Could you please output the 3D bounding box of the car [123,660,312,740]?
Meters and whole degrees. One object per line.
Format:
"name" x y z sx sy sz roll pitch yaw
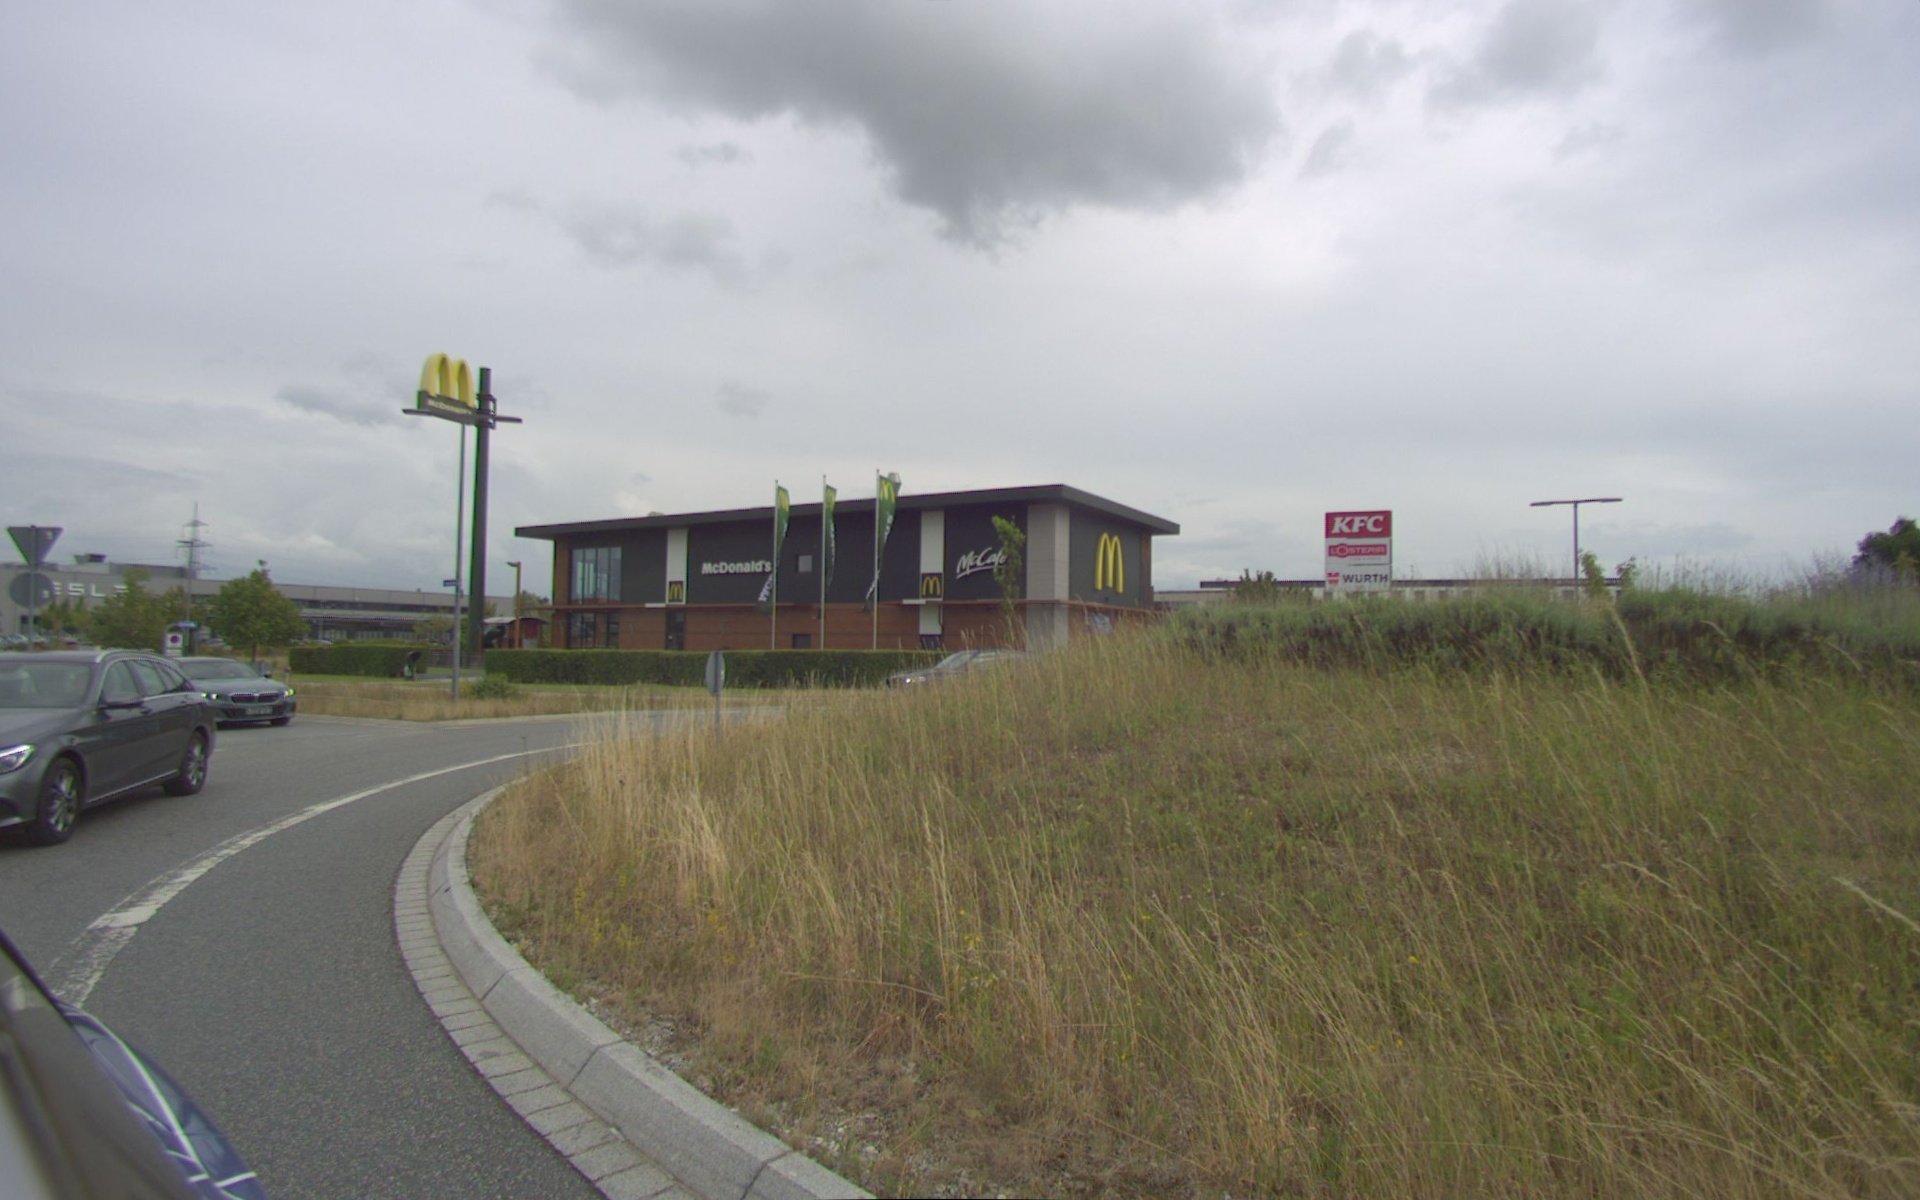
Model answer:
"car" -16.252 2.097 22.104 4.295 1.516 1.976 -2 -3 34

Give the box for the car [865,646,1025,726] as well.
"car" -0.335 2.140 26.119 3.941 1.732 1.845 -1 -1 -45

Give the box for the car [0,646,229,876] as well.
"car" -7.962 1.193 8.440 1.874 1.509 4.352 1 -4 -20
